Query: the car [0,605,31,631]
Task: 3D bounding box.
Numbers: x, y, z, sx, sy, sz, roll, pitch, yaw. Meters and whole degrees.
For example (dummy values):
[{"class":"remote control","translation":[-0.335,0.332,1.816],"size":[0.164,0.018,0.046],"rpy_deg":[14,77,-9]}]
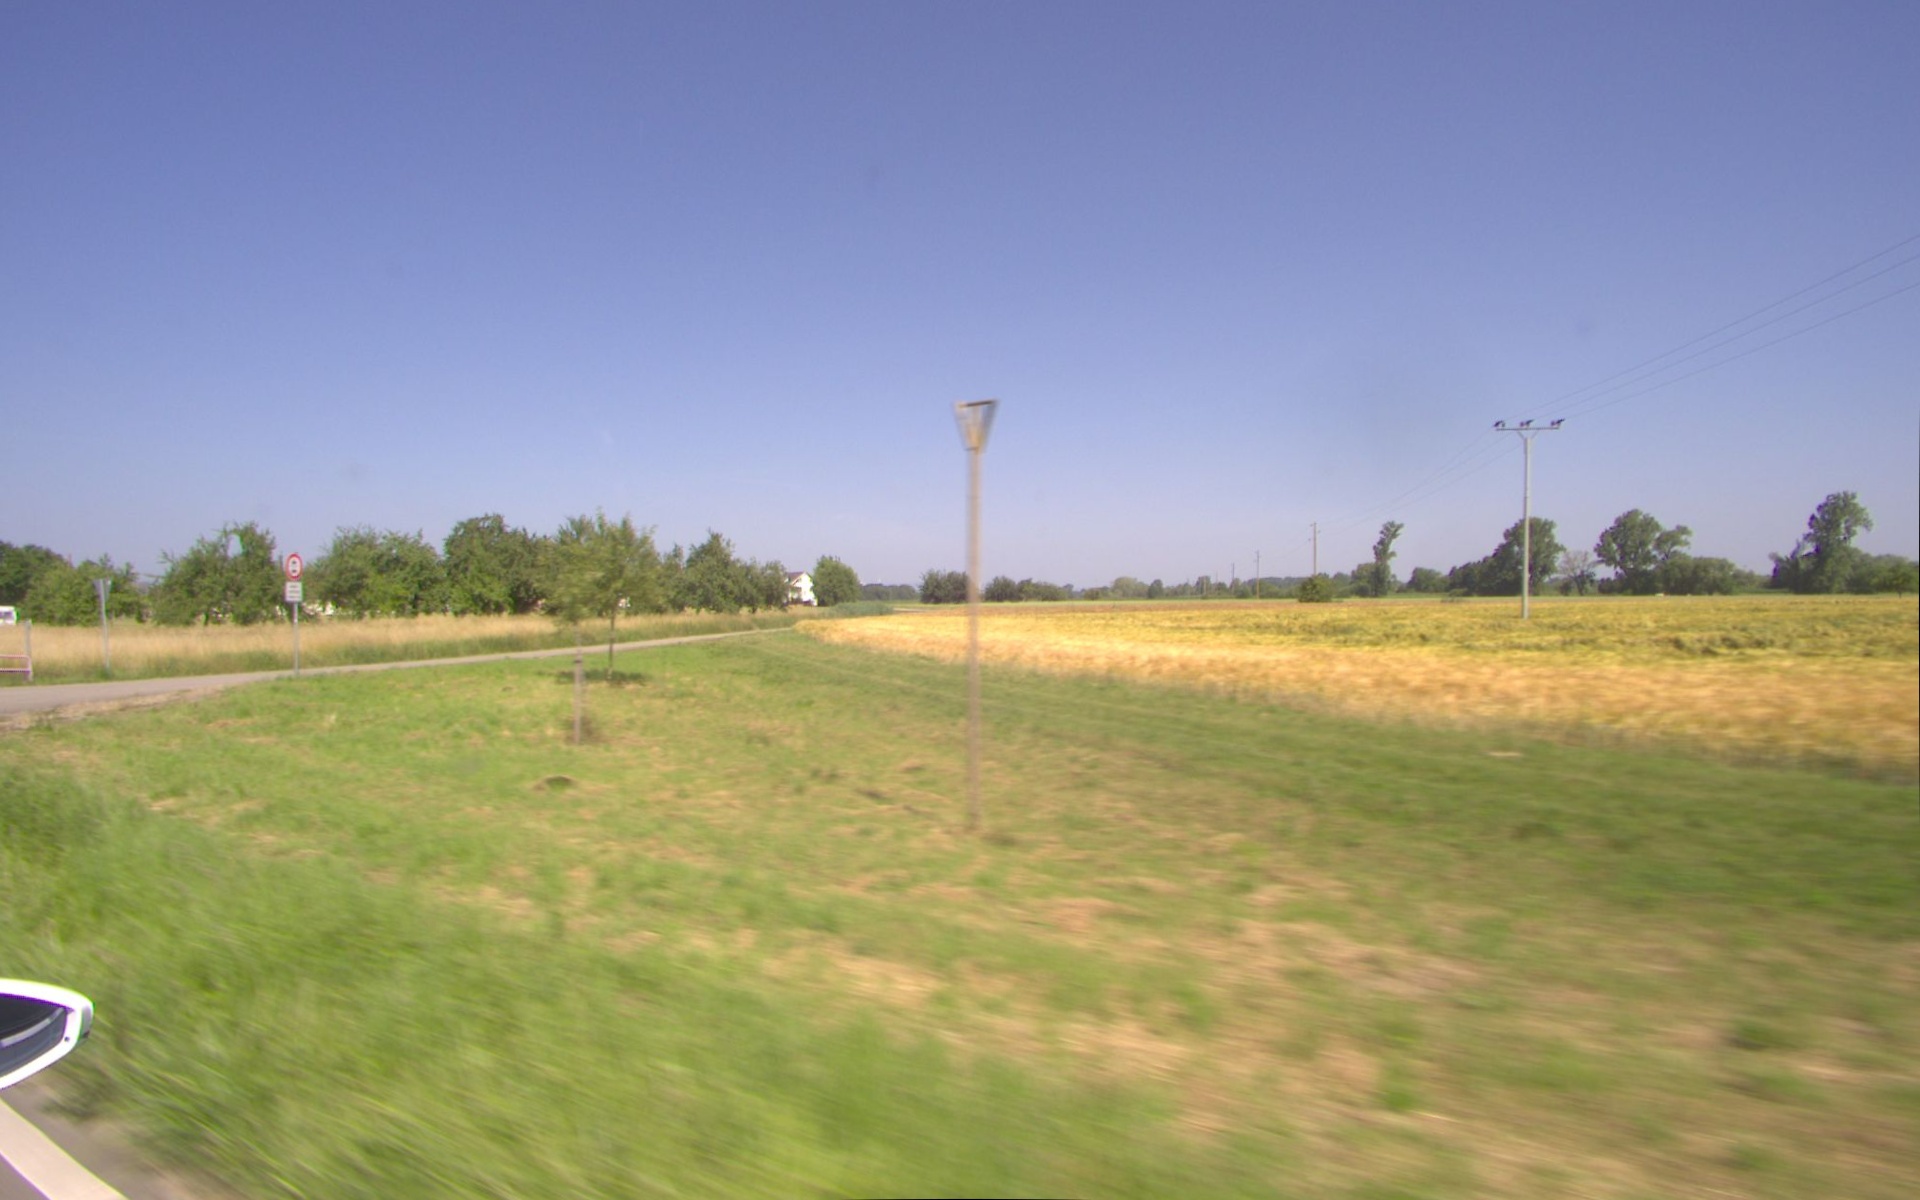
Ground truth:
[{"class":"car","translation":[-85.381,1.576,90.118],"size":[1.975,2.296,4.691],"rpy_deg":[-1,0,-37]}]
